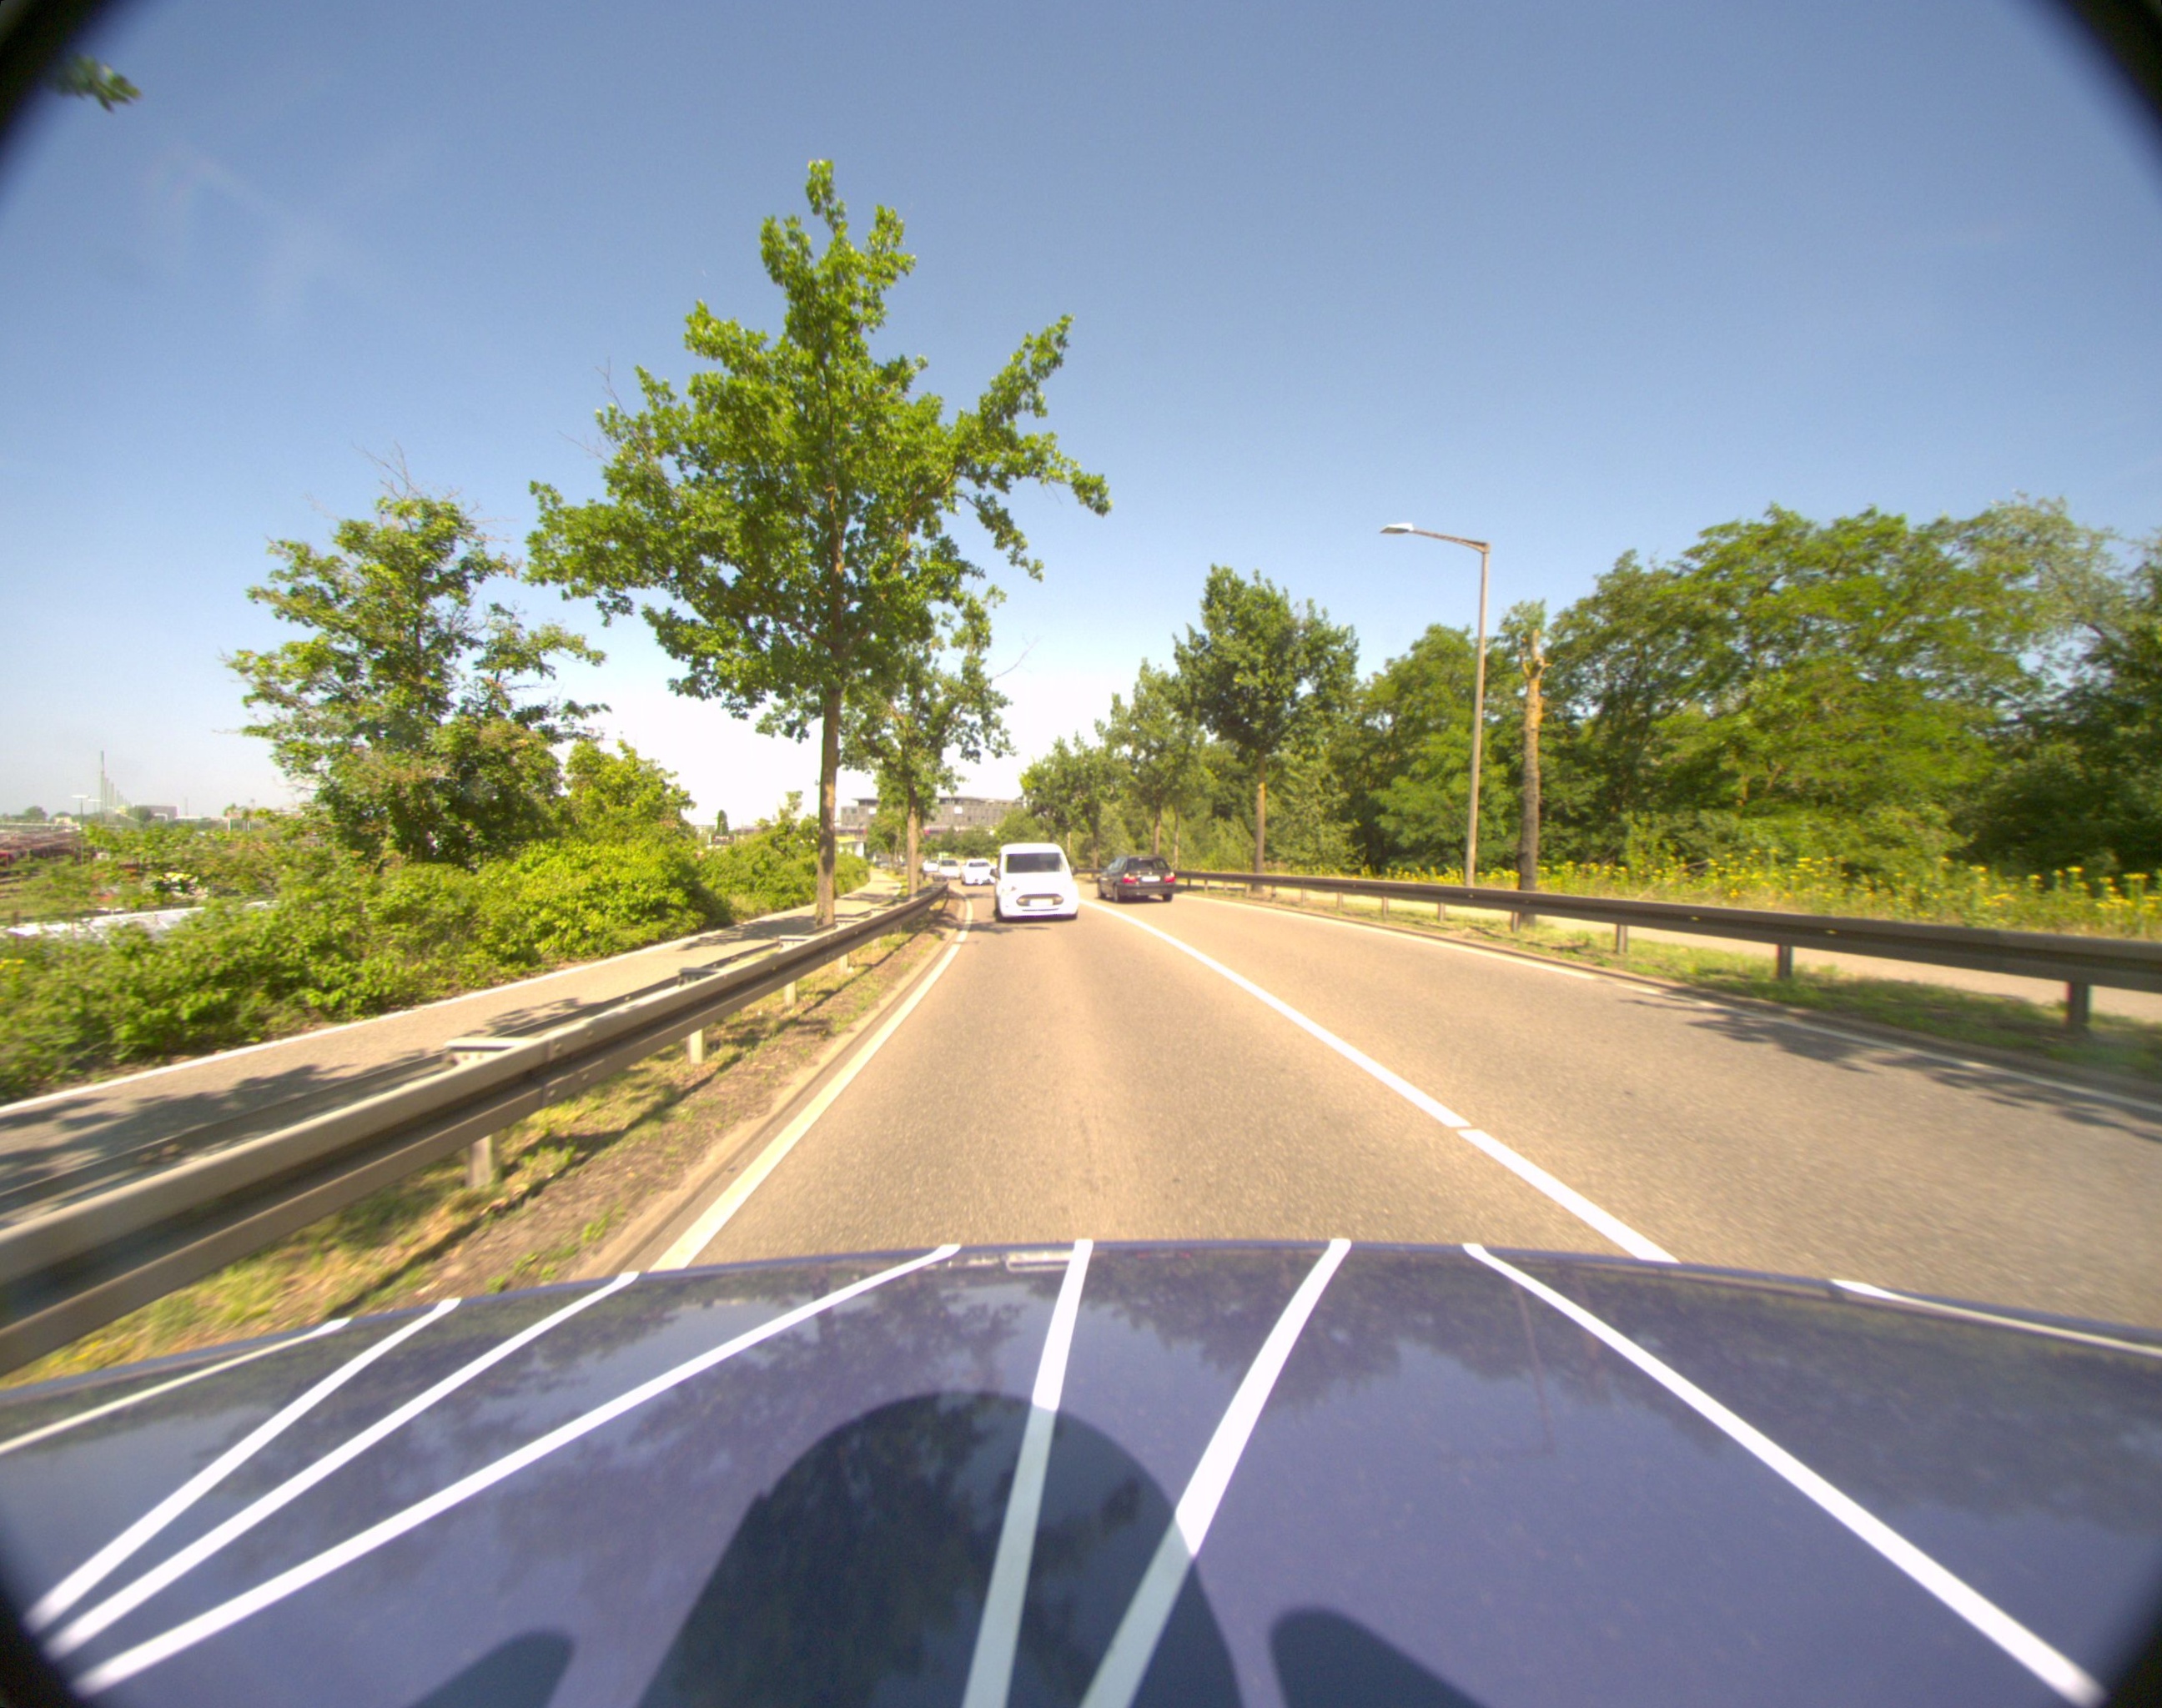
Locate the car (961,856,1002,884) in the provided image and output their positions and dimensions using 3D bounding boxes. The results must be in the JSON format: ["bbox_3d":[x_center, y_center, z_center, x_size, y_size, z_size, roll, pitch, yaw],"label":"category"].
[{"bbox_3d":[-5.784,0.892,43.873,1.848,1.479,4.146,-1,0,-14],"label":"car"}]

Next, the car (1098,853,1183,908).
[{"bbox_3d":[1.728,0.749,23.457,1.707,1.440,4.117,-2,1,-8],"label":"car"}]

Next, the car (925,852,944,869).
[{"bbox_3d":[-16.572,0.682,85.991,2.000,1.757,3.996,-2,1,-10],"label":"car"}]

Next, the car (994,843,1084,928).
[{"bbox_3d":[-1.161,0.678,18.623,1.898,1.785,4.444,-1,0,-7],"label":"car"}]

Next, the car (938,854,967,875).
[{"bbox_3d":[-10.121,0.814,59.623,2.001,1.576,3.995,-1,0,-13],"label":"car"}]
